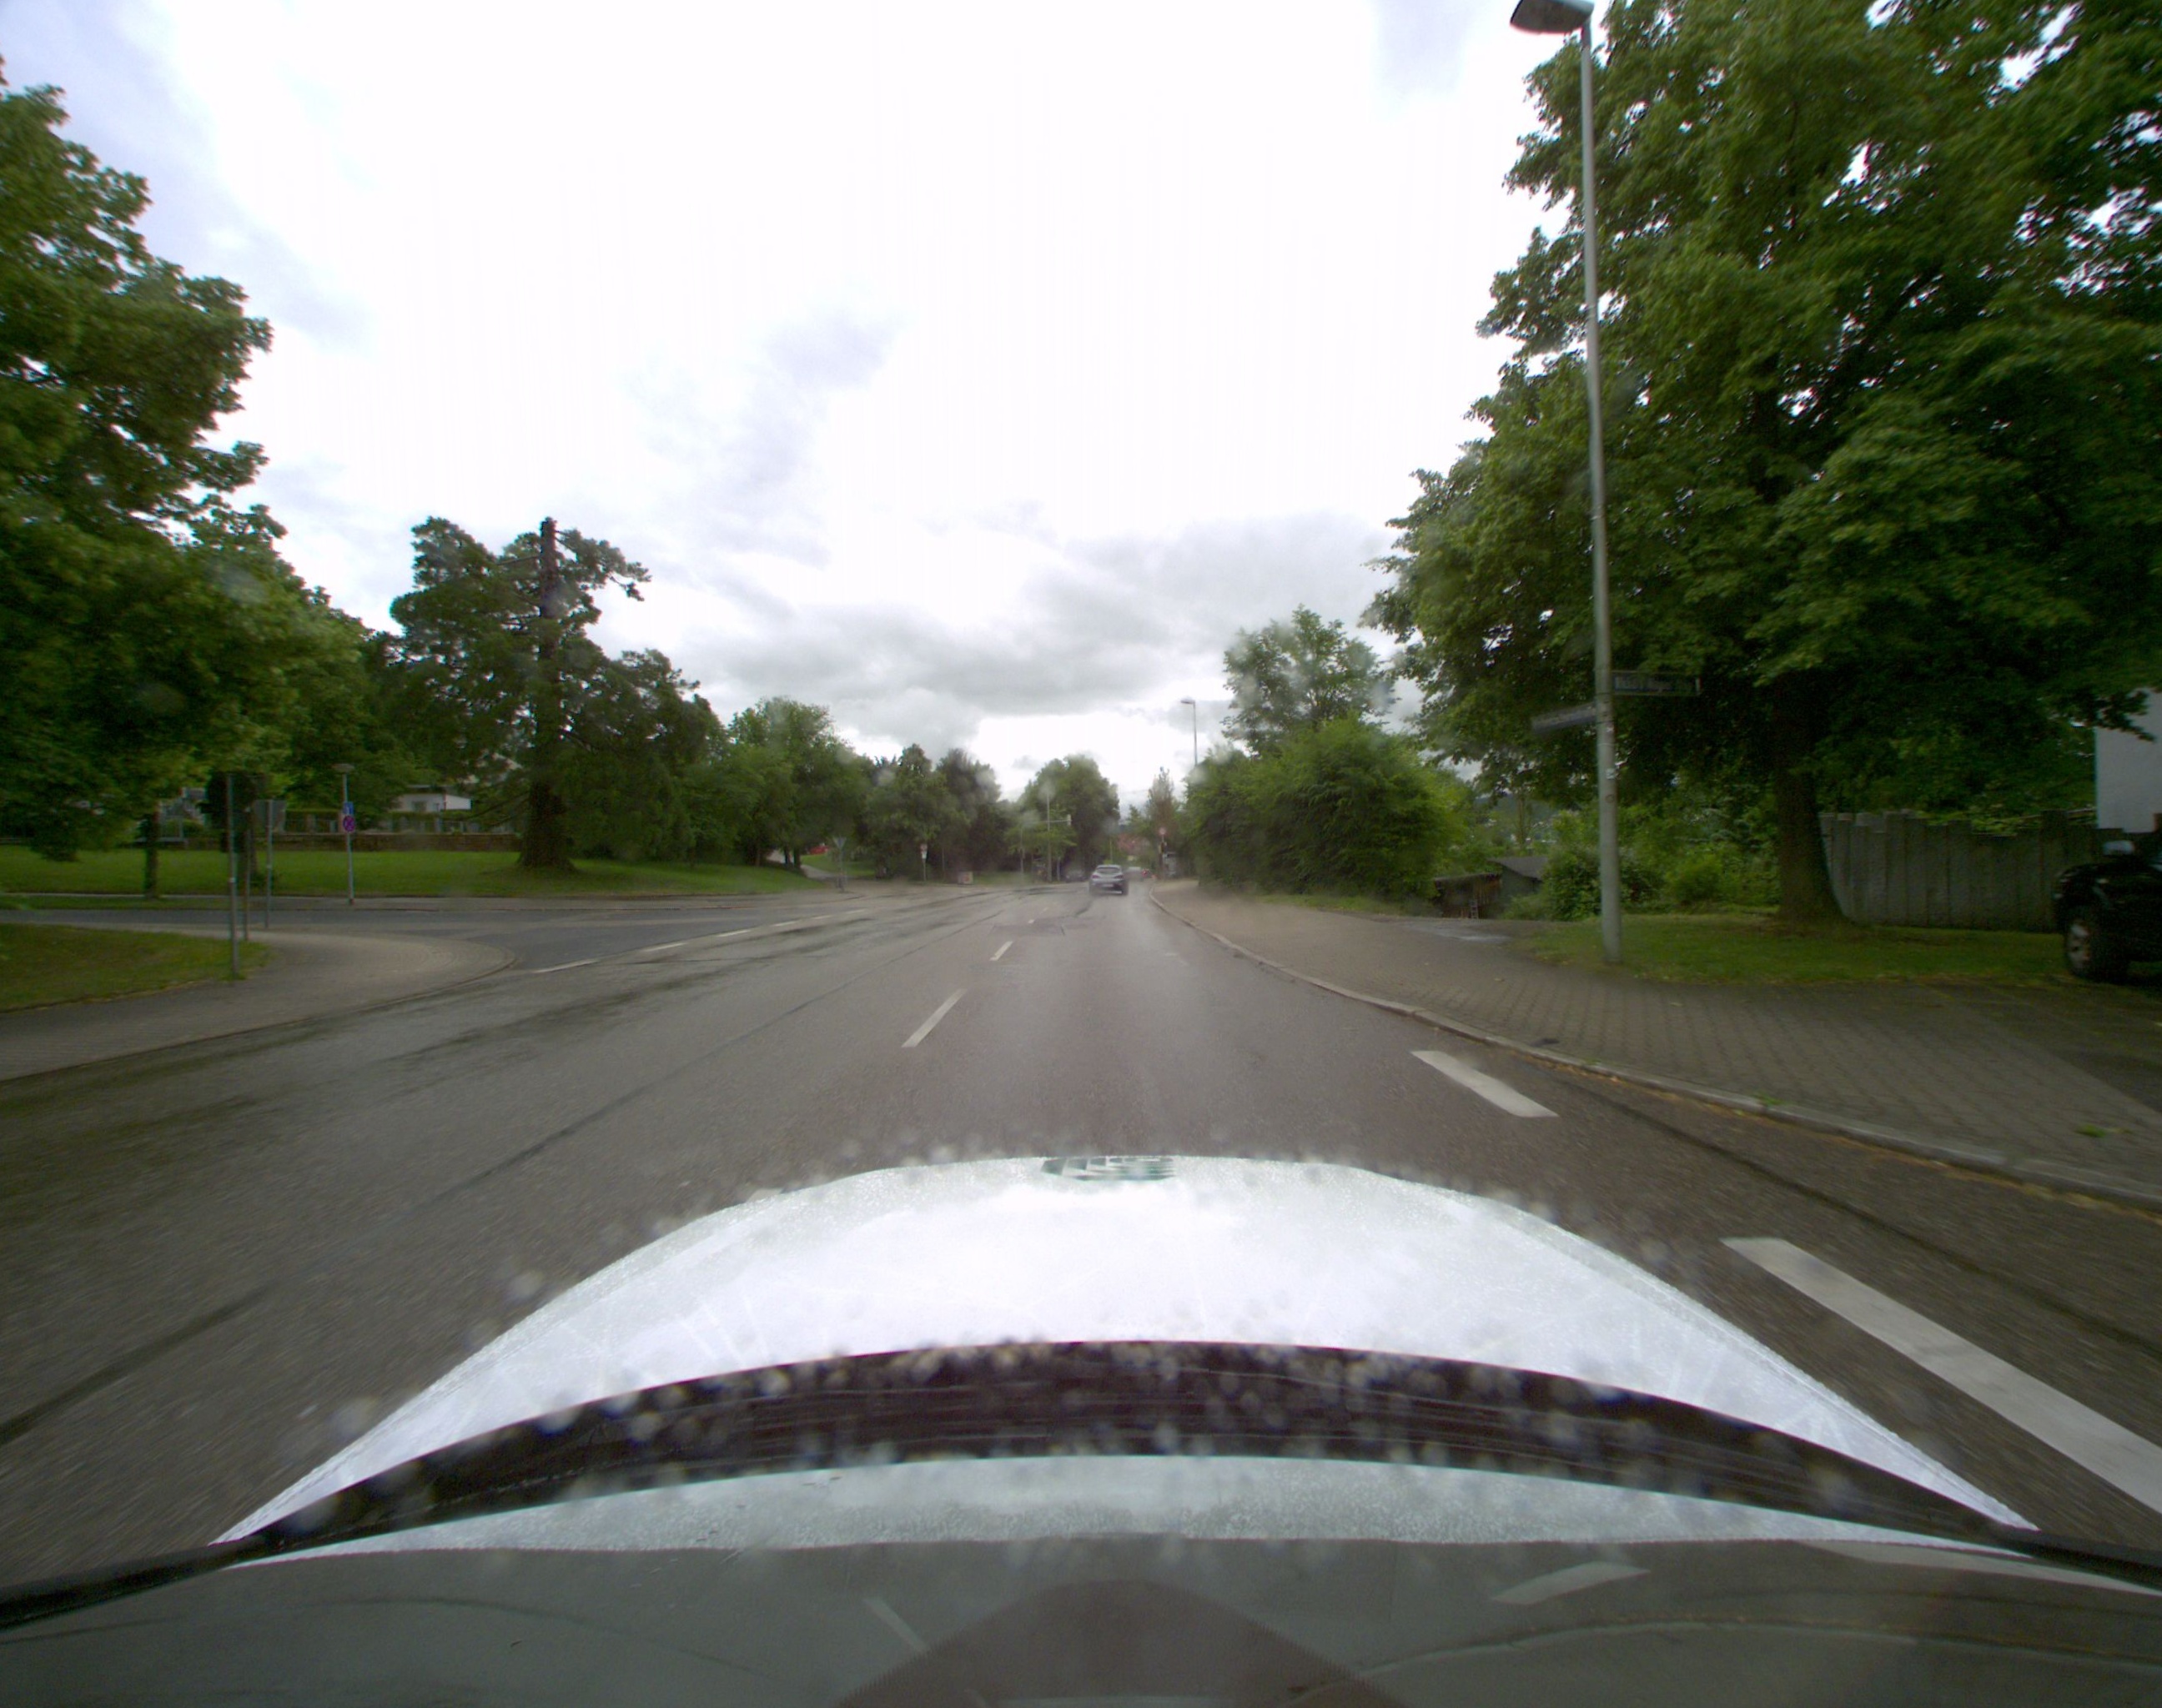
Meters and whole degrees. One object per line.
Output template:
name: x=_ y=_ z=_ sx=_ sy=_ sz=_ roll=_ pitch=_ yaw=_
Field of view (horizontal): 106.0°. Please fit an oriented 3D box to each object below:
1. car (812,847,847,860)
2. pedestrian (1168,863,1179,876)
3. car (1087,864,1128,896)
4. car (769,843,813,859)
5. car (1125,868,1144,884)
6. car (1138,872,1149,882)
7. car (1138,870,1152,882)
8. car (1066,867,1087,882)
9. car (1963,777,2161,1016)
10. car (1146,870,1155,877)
car: x=-30.145 y=-0.093 z=97.663 sx=3.906 sy=1.486 sz=1.924 roll=-1 pitch=-1 yaw=-17
pedestrian: x=9.824 y=1.634 z=86.488 sx=1.066 sy=1.355 sz=0.921 roll=-3 pitch=-1 yaw=12
car: x=1.374 y=1.244 z=40.547 sx=1.746 sy=1.464 sz=4.006 roll=1 pitch=0 yaw=5
car: x=-27.825 y=-0.280 z=78.255 sx=3.906 sy=1.486 sz=1.924 roll=-1 pitch=-1 yaw=-17
car: x=5.199 y=2.117 z=79.109 sx=1.714 sy=1.464 sz=4.004 roll=2 pitch=-1 yaw=4
car: x=9.829 y=3.617 z=127.565 sx=1.714 sy=1.464 sz=4.004 roll=2 pitch=-1 yaw=4
car: x=8.572 y=2.934 z=109.334 sx=1.714 sy=1.464 sz=4.004 roll=2 pitch=-1 yaw=4
car: x=-0.458 y=2.127 z=85.052 sx=1.652 sy=1.306 sz=4.090 roll=-3 pitch=0 yaw=6
car: x=8.850 y=0.266 z=5.916 sx=1.929 sy=1.689 sz=4.935 roll=0 pitch=2 yaw=30
car: x=13.829 y=3.857 z=161.613 sx=1.714 sy=1.464 sz=4.004 roll=2 pitch=-1 yaw=4
